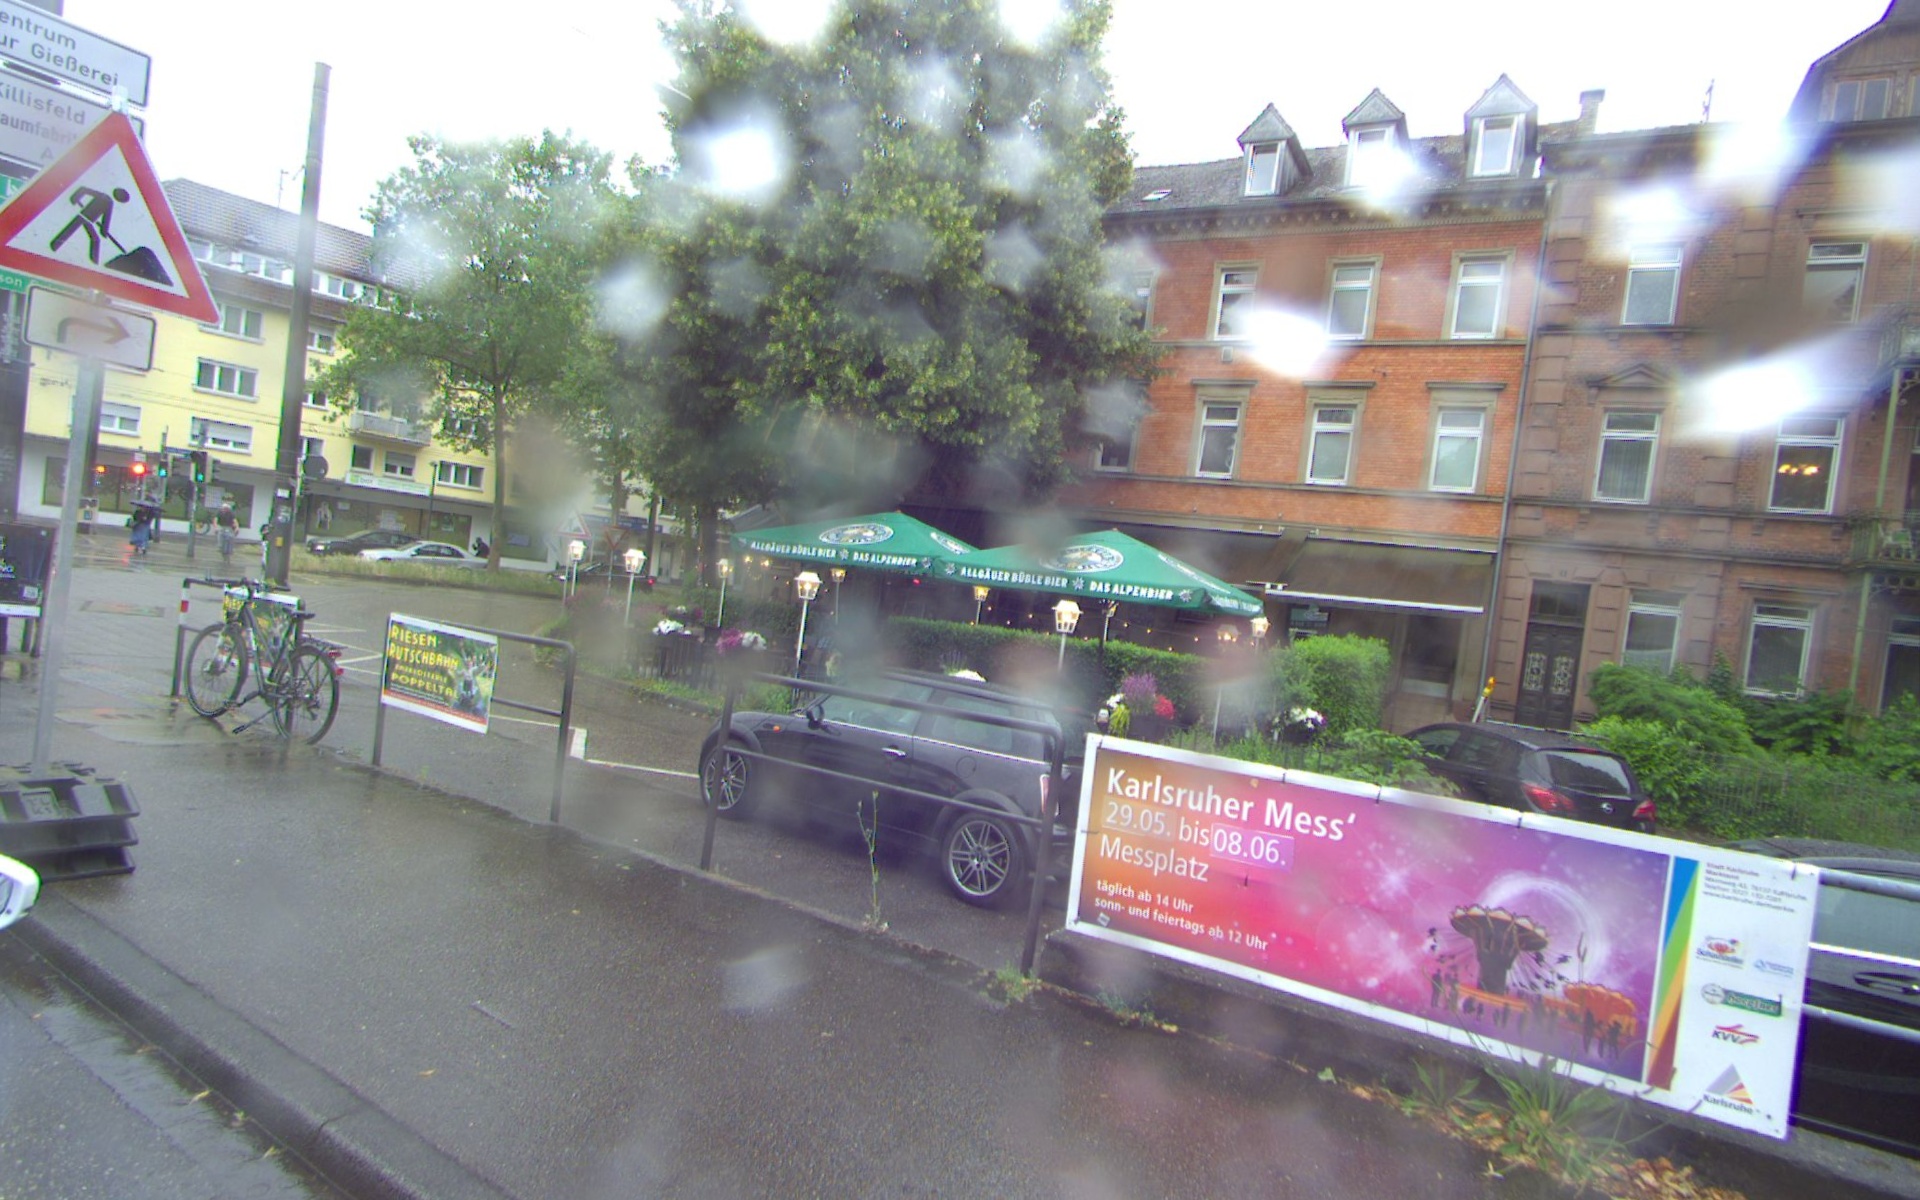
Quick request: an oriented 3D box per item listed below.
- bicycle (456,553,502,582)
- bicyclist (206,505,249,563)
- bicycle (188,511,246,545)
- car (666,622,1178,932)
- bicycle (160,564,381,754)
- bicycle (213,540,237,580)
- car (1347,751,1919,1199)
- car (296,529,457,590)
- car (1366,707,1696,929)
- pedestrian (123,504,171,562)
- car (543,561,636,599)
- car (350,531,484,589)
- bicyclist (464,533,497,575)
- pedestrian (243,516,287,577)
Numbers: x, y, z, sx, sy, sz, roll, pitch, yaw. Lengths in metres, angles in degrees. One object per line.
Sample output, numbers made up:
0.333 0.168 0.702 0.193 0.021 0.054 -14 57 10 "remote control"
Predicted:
-20.016 -1.339 41.882 0.415 1.013 1.640 7 -1 32 "bicycle"
-22.214 -1.993 30.517 0.873 1.602 0.852 7 -1 -34 "bicyclist"
-35.604 -3.433 48.202 2.096 1.277 0.525 8 0 -44 "bicycle"
-0.354 1.216 7.806 3.468 1.457 1.710 8 -3 34 "car"
-5.180 0.405 7.503 1.984 1.119 0.515 7 -3 33 "bicycle"
-22.280 -1.224 30.484 0.456 1.040 1.881 7 0 -38 "bicycle"
4.194 1.825 4.965 3.907 1.416 1.706 7 -1 32 "car"
-22.446 -1.519 38.829 1.975 1.661 4.928 3 -4 43 "car"
6.623 2.428 12.280 1.962 1.733 4.004 7 -1 7 "car"
-23.933 -1.966 29.614 0.612 1.552 0.816 7 0 -6 "pedestrian"
-15.523 -0.820 42.279 1.227 1.095 3.531 7 -2 34 "car"
-19.978 -1.450 37.111 3.926 1.508 1.784 8 0 -43 "car"
-19.952 -1.913 41.873 0.699 1.634 0.815 7 0 33 "bicyclist"
-20.824 -1.597 30.149 0.899 1.689 1.011 7 -1 -34 "pedestrian"
